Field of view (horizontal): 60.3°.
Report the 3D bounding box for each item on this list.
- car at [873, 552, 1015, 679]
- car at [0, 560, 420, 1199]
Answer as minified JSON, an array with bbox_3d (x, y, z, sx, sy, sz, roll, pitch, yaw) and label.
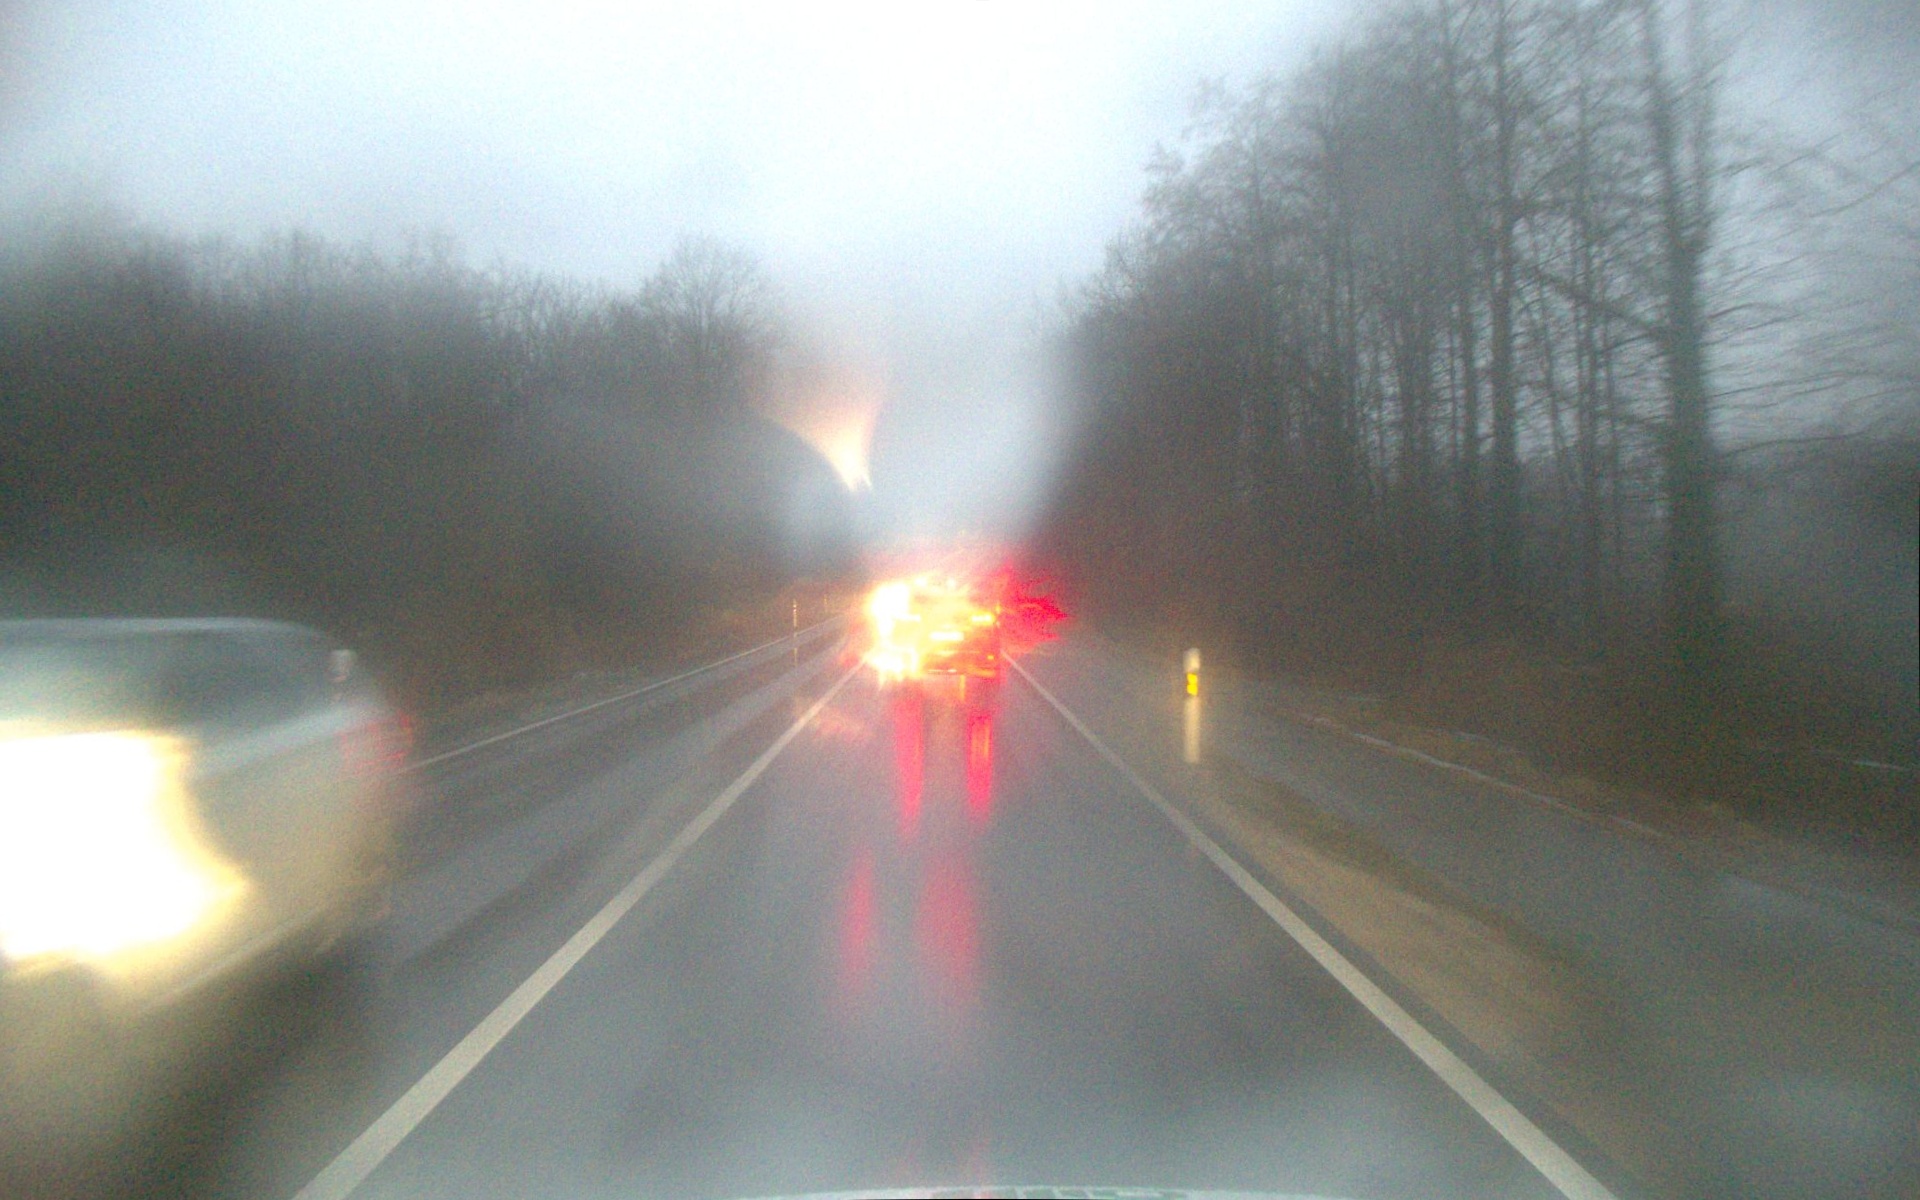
[{"bbox_3d":[-0.293,0.212,27.887,2.153,1.910,4.826,1,1,-1],"label":"car"},{"bbox_3d":[-3.234,0.679,5.461,1.713,1.579,3.992,0,1,-2],"label":"car"}]
